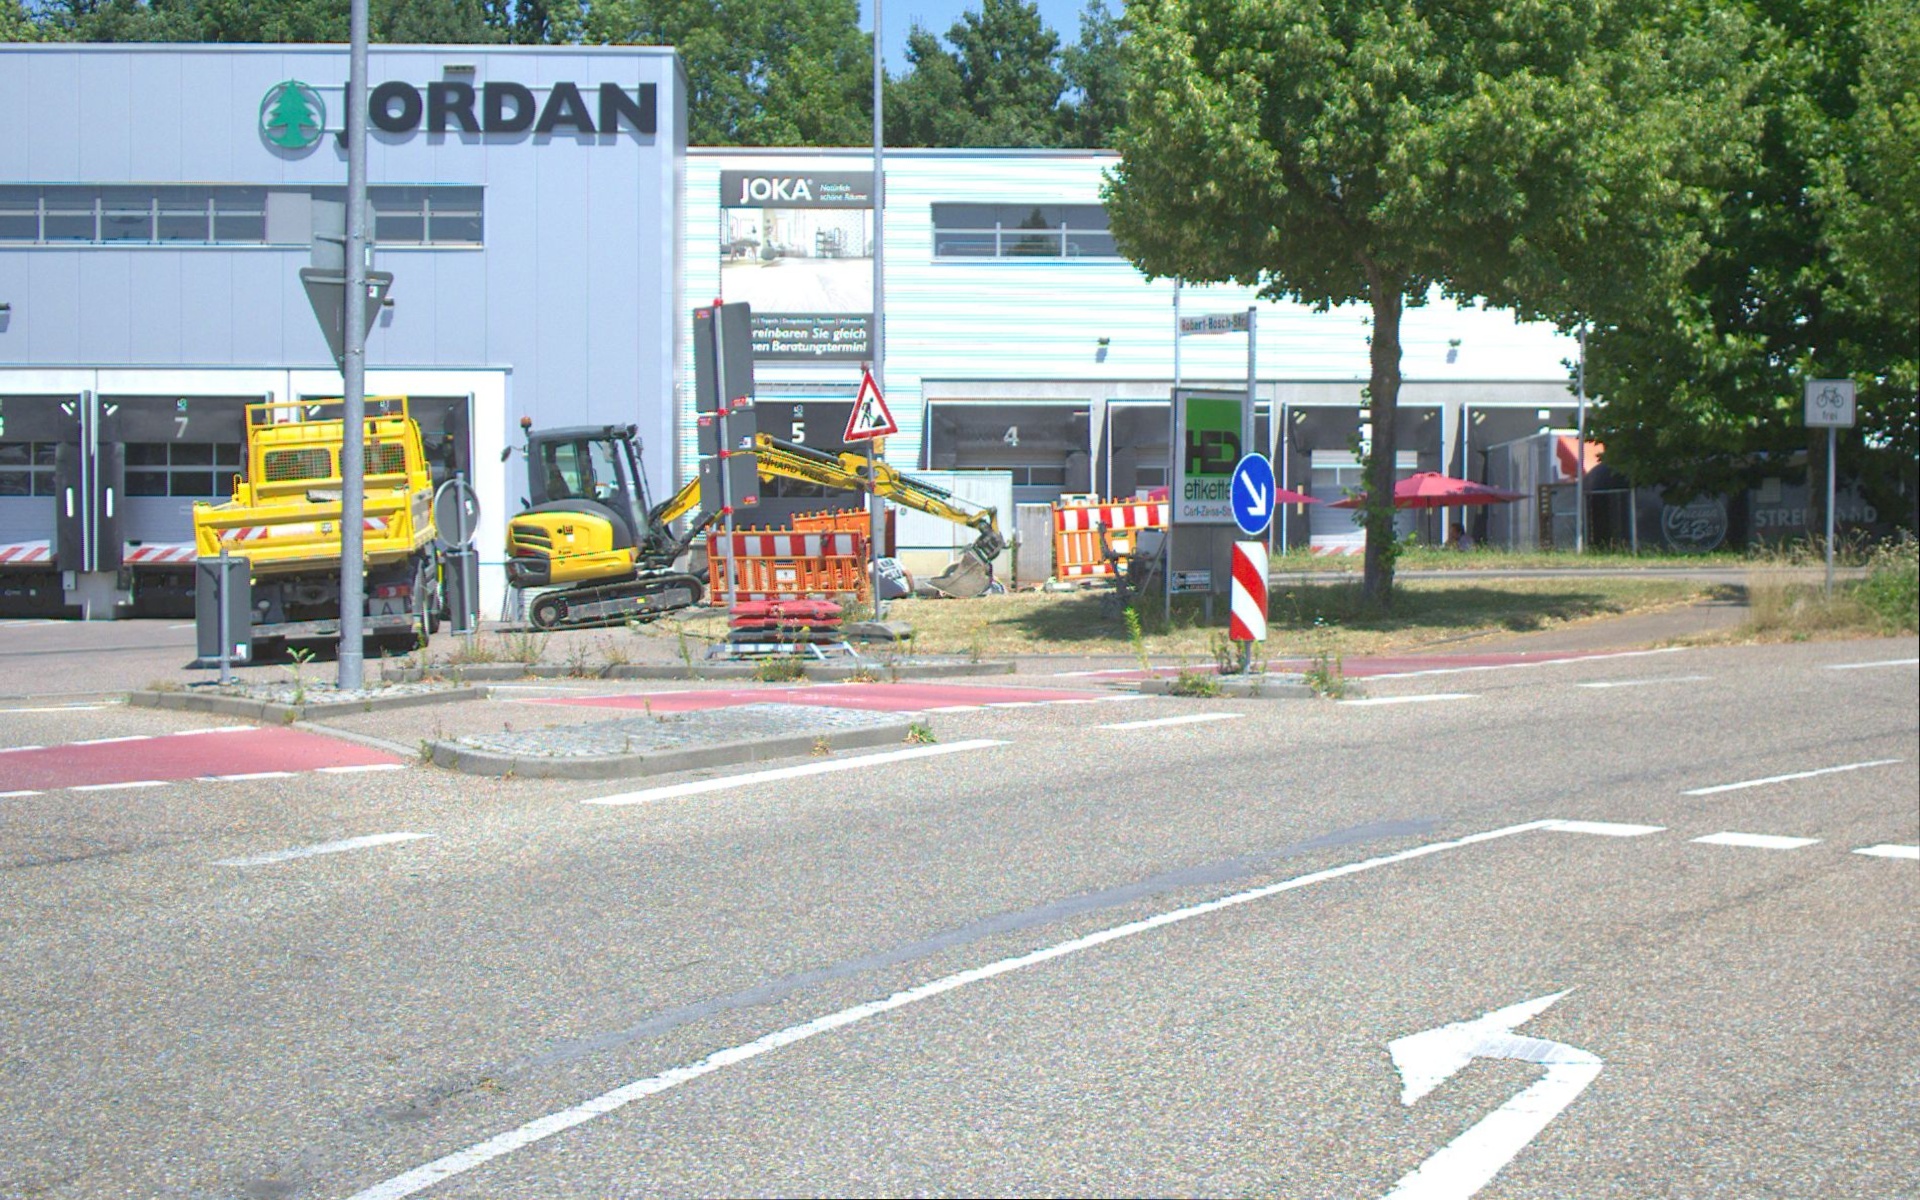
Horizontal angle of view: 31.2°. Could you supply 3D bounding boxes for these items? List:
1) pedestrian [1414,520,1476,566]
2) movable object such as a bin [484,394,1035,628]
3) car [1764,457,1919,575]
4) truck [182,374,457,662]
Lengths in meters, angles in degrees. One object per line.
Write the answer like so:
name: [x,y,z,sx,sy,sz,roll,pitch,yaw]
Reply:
pedestrian: [7.501,-0.887,53.142,0.865,0.693,0.407,-1,1,22]
movable object such as a bin: [-2.434,-1.089,42.773,6.557,2.572,2.000,-2,1,4]
car: [14.348,-1.288,51.841,3.987,1.722,1.841,-1,1,0]
truck: [-7.703,-1.129,42.049,2.587,3.125,6.427,-3,4,-5]
